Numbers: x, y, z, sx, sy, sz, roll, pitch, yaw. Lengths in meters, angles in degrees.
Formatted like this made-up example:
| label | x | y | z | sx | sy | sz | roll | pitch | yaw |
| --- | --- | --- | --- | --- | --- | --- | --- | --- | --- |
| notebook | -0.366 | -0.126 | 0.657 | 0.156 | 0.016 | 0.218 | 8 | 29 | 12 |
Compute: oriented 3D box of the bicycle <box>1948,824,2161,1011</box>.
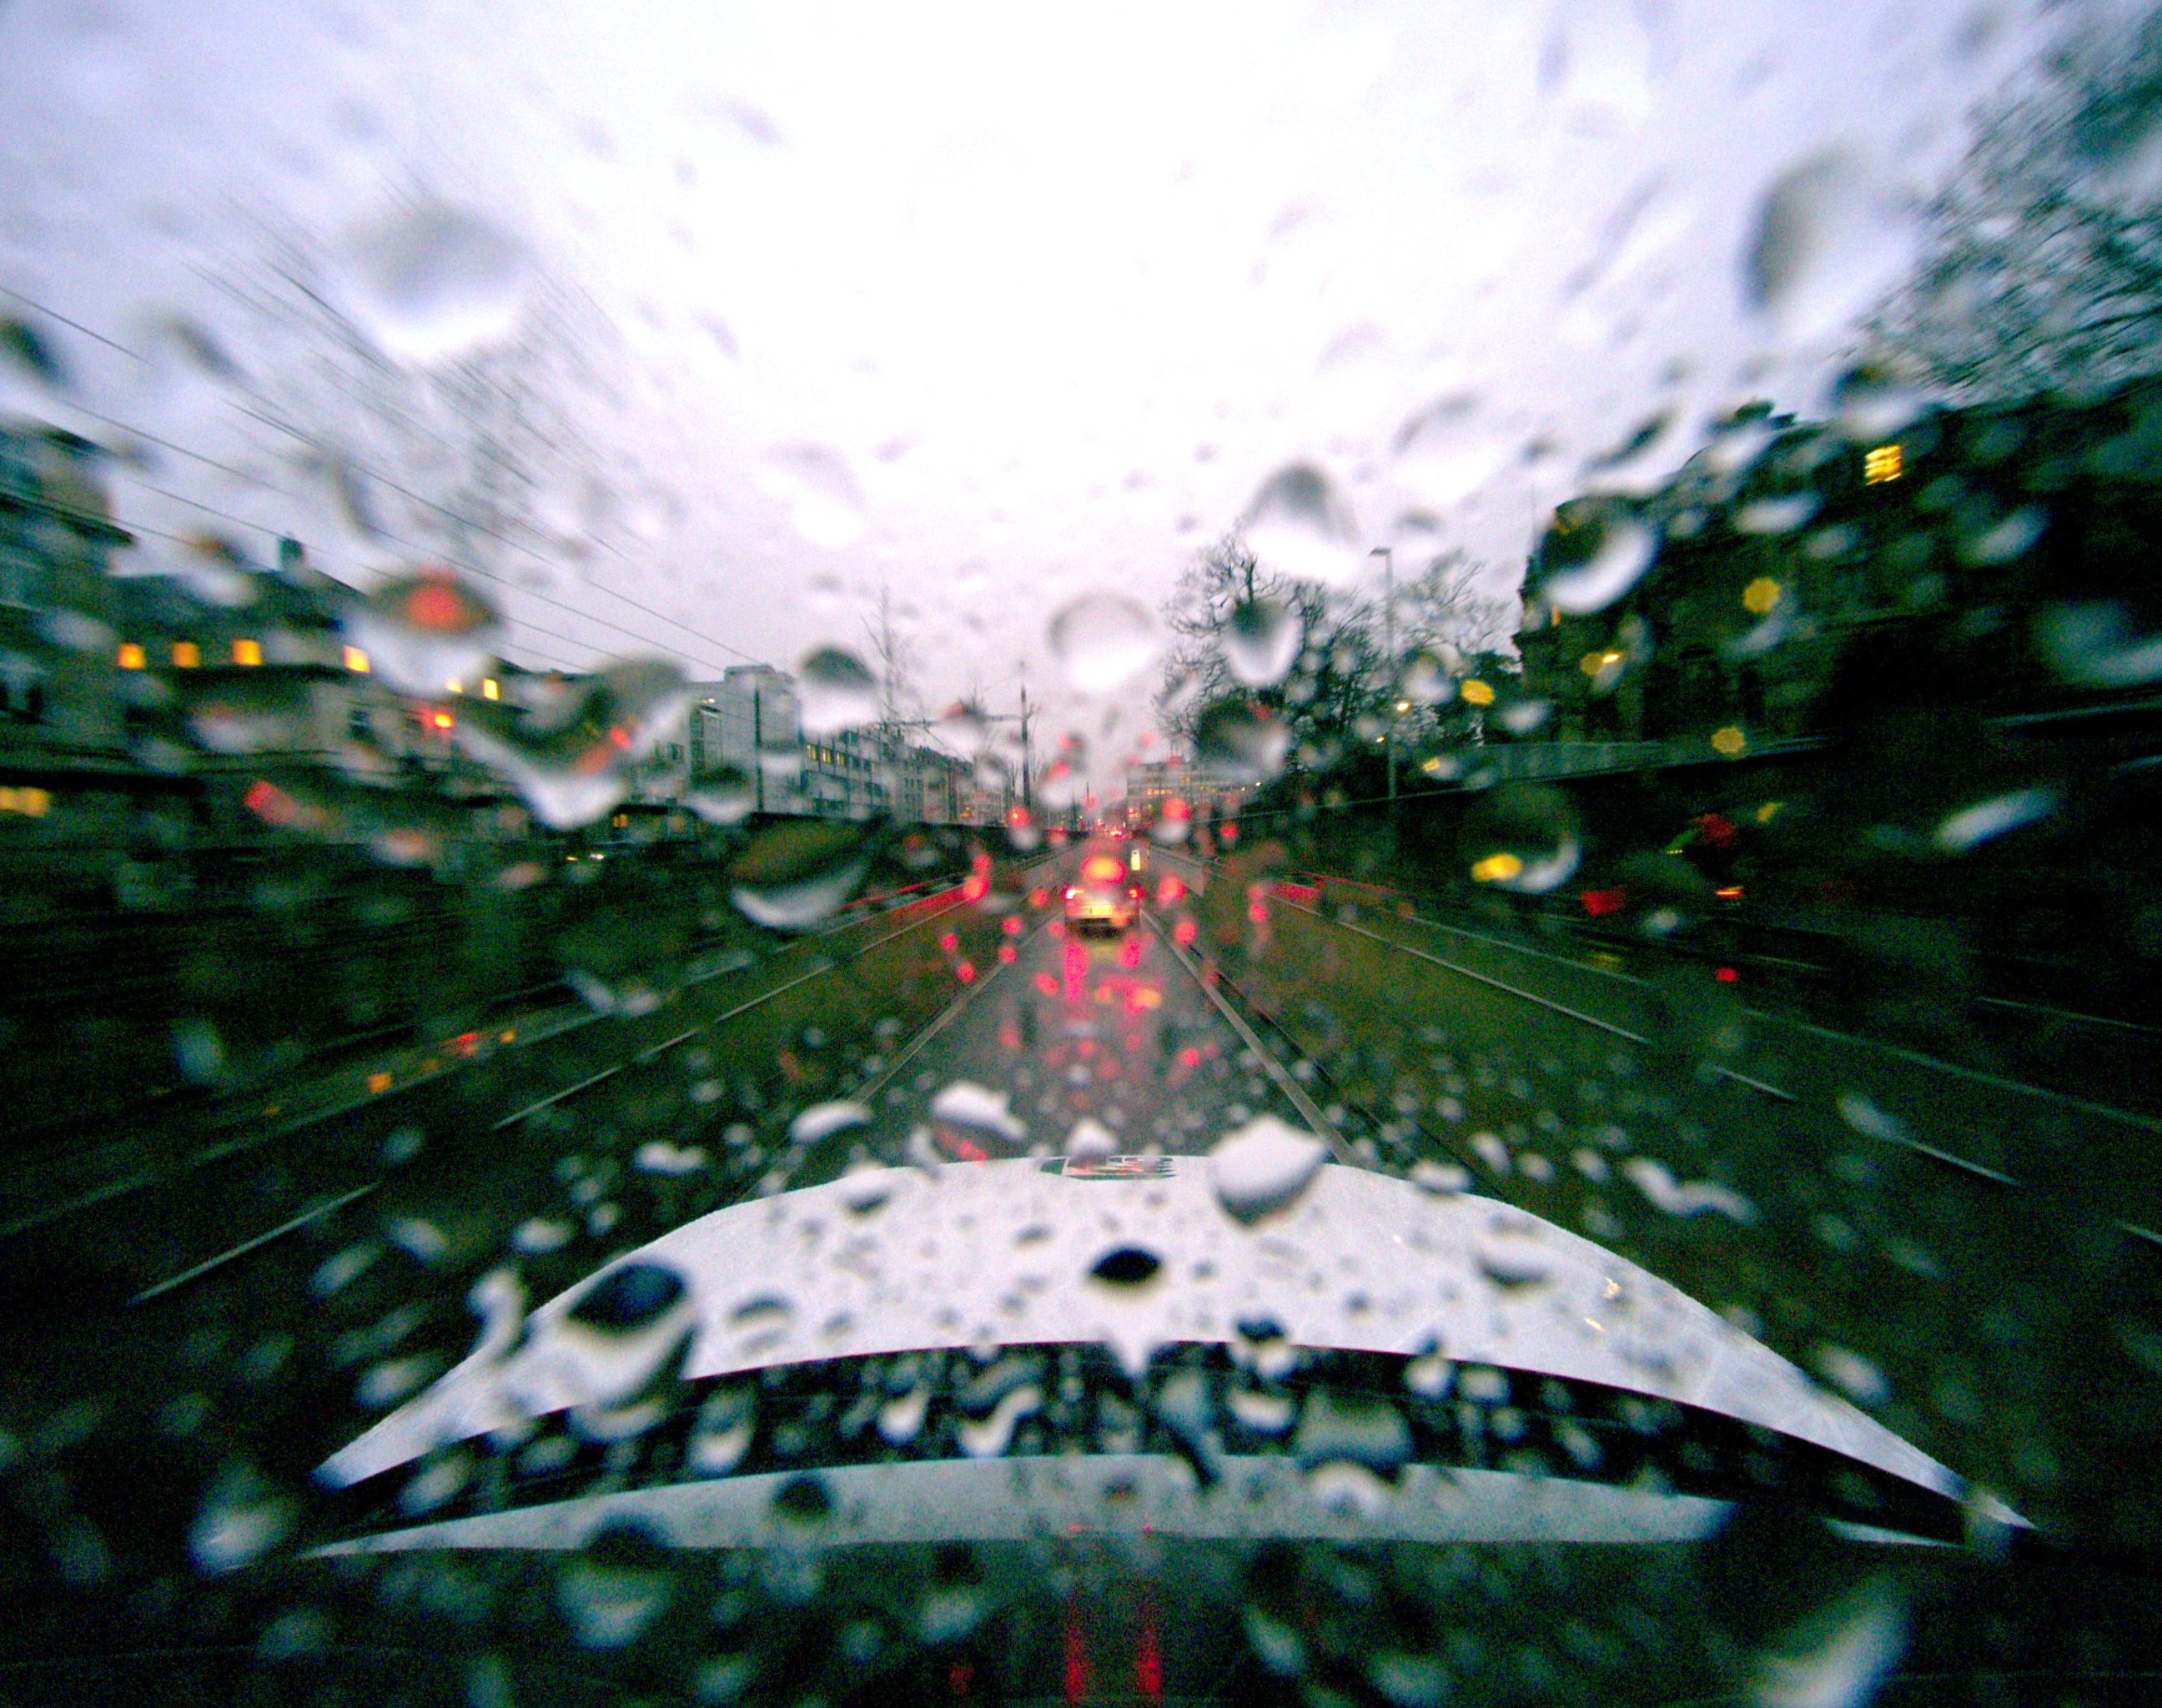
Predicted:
| label | x | y | z | sx | sy | sz | roll | pitch | yaw |
| --- | --- | --- | --- | --- | --- | --- | --- | --- | --- |
| bicycle | 7.104 | 0.399 | 5.477 | 0.410 | 1.185 | 2.029 | -2 | 2 | 1 |

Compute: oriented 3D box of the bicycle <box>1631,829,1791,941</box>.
| label | x | y | z | sx | sy | sz | roll | pitch | yaw |
| --- | --- | --- | --- | --- | --- | --- | --- | --- | --- |
| bicycle | 7.390 | 0.307 | 9.678 | 0.410 | 1.185 | 1.949 | -2 | 2 | 1 |

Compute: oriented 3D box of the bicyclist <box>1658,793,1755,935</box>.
| label | x | y | z | sx | sy | sz | roll | pitch | yaw |
| --- | --- | --- | --- | --- | --- | --- | --- | --- | --- |
| bicyclist | 7.374 | 0.100 | 9.632 | 0.498 | 1.591 | 0.837 | -2 | 1 | 1 |

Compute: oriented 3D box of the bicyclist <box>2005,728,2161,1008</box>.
| label | x | y | z | sx | sy | sz | roll | pitch | yaw |
| --- | --- | --- | --- | --- | --- | --- | --- | --- | --- |
| bicyclist | 7.036 | 0.073 | 5.568 | 0.498 | 1.767 | 0.837 | -2 | 1 | 1 |

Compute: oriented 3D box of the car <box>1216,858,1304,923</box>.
| label | x | y | z | sx | sy | sz | roll | pitch | yaw |
| --- | --- | --- | --- | --- | --- | --- | --- | --- | --- |
| car | 4.649 | 0.891 | 21.679 | 1.715 | 1.479 | 4.005 | 0 | 1 | 4 |

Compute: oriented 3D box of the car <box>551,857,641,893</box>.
| label | x | y | z | sx | sy | sz | roll | pitch | yaw |
| --- | --- | --- | --- | --- | --- | --- | --- | --- | --- |
| car | -26.196 | 1.093 | 44.149 | 1.985 | 1.631 | 4.434 | -1 | 1 | 3 |

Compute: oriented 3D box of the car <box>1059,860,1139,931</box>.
| label | x | y | z | sx | sy | sz | roll | pitch | yaw |
| --- | --- | --- | --- | --- | --- | --- | --- | --- | --- |
| car | 0.517 | 0.907 | 19.507 | 1.715 | 1.479 | 4.004 | 0 | 0 | 4 |
